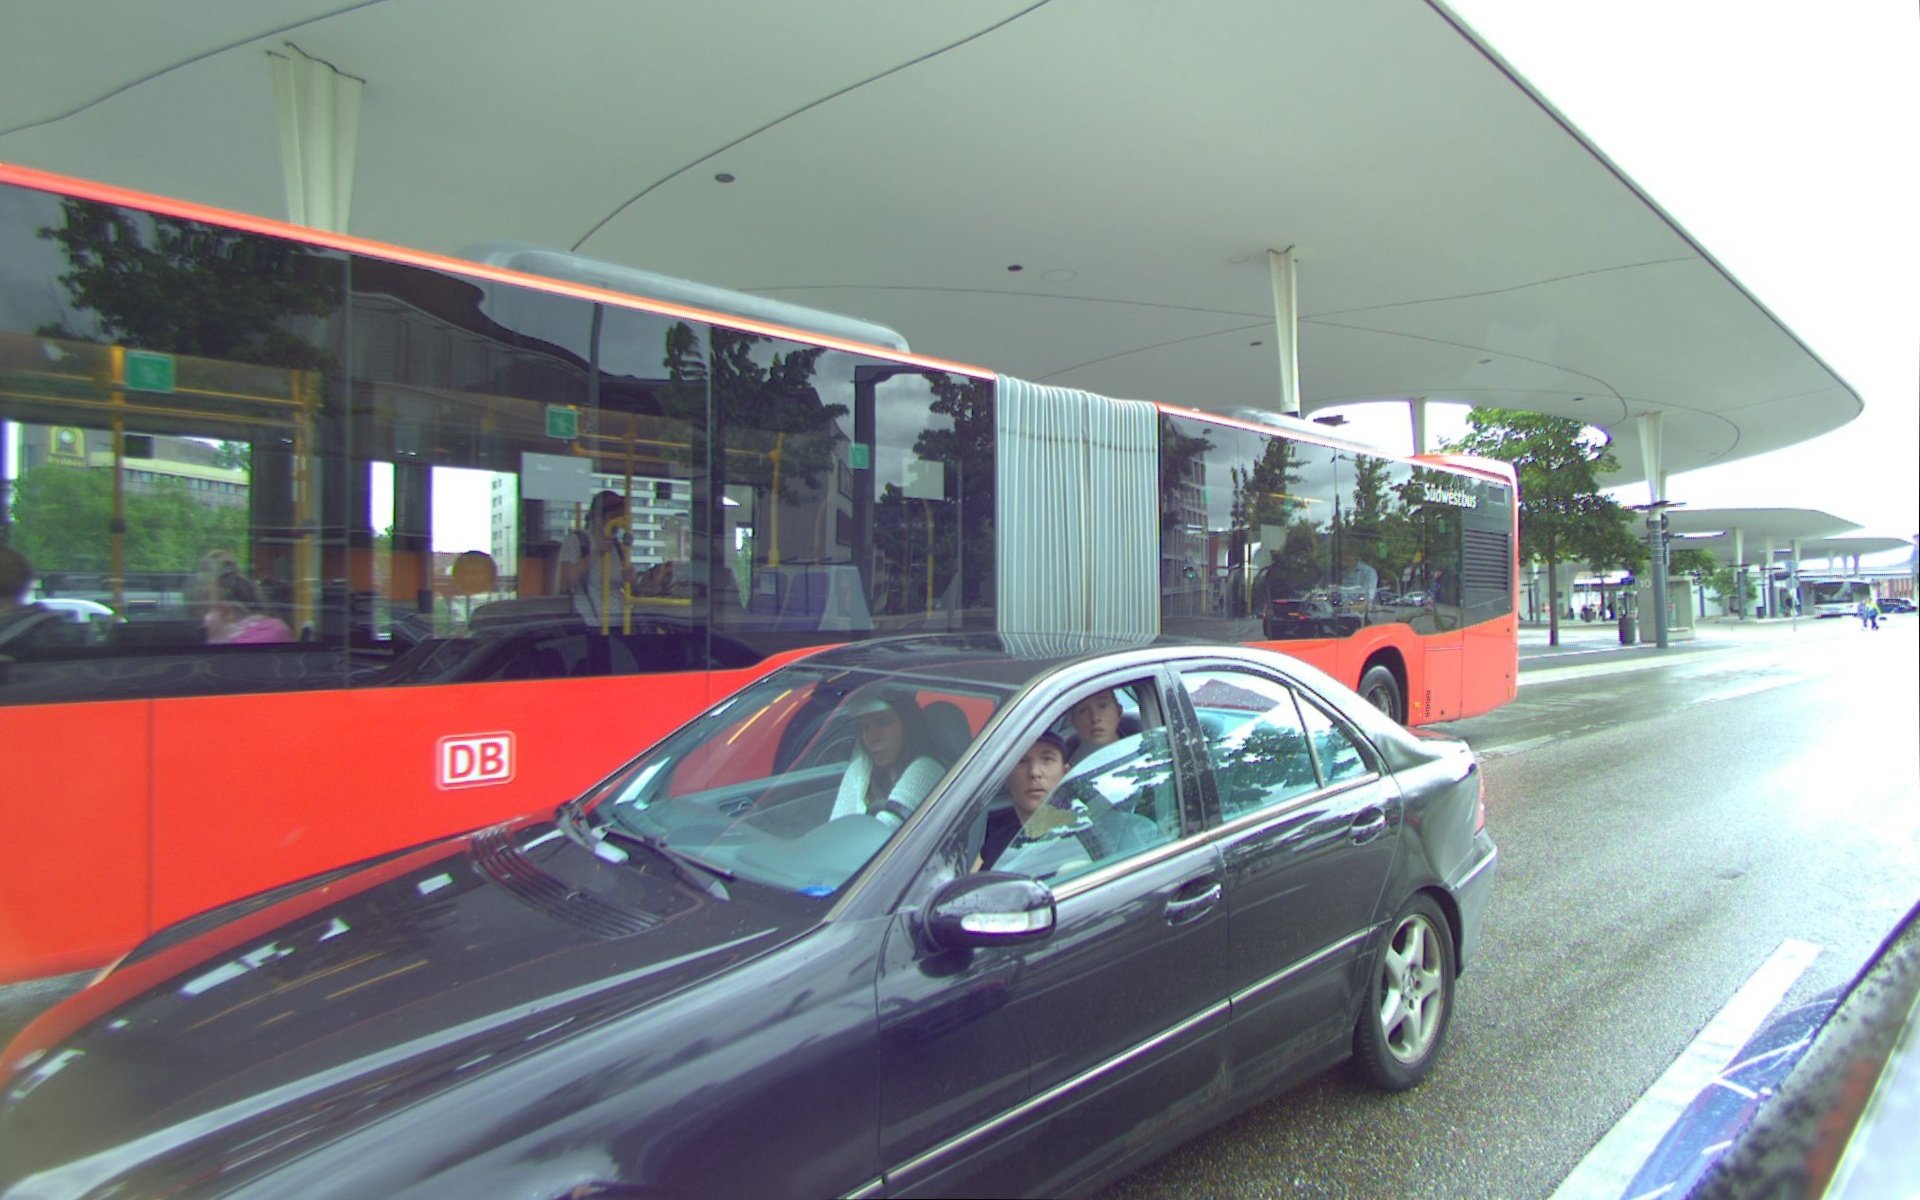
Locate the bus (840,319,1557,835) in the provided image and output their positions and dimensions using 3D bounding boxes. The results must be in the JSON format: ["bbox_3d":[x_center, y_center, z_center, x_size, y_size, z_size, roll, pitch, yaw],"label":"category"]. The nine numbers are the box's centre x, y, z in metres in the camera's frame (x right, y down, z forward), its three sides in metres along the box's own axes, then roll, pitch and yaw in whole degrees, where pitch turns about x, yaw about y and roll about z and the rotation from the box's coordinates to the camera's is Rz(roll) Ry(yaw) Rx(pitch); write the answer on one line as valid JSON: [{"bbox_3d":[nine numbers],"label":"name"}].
[{"bbox_3d":[2.899,-0.157,9.980,7.978,3.214,2.747,0,0,-41],"label":"bus"}]

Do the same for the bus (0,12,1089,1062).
[{"bbox_3d":[-3.859,-0.195,4.112,10.016,3.214,2.747,0,0,-41],"label":"bus"}]

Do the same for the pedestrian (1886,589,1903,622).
[{"bbox_3d":[47.452,0.281,51.378,0.543,1.645,0.556,0,-1,-41],"label":"pedestrian"}]

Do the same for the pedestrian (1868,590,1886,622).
[{"bbox_3d":[47.079,0.291,51.951,0.577,1.645,0.576,0,-1,-41],"label":"pedestrian"}]

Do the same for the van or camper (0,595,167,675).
[{"bbox_3d":[-29.787,1.101,33.218,5.868,2.495,2.106,0,-1,-41],"label":"van or camper"}]

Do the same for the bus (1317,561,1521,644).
[{"bbox_3d":[20.058,0.101,43.651,12.135,3.146,3.001,0,-2,-40],"label":"bus"}]

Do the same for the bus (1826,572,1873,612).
[{"bbox_3d":[75.365,-0.663,85.698,2.666,3.169,9.565,-1,-1,43],"label":"bus"}]

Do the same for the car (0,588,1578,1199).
[{"bbox_3d":[0.075,0.803,3.033,4.359,1.499,1.747,-2,-3,-41],"label":"car"}]
